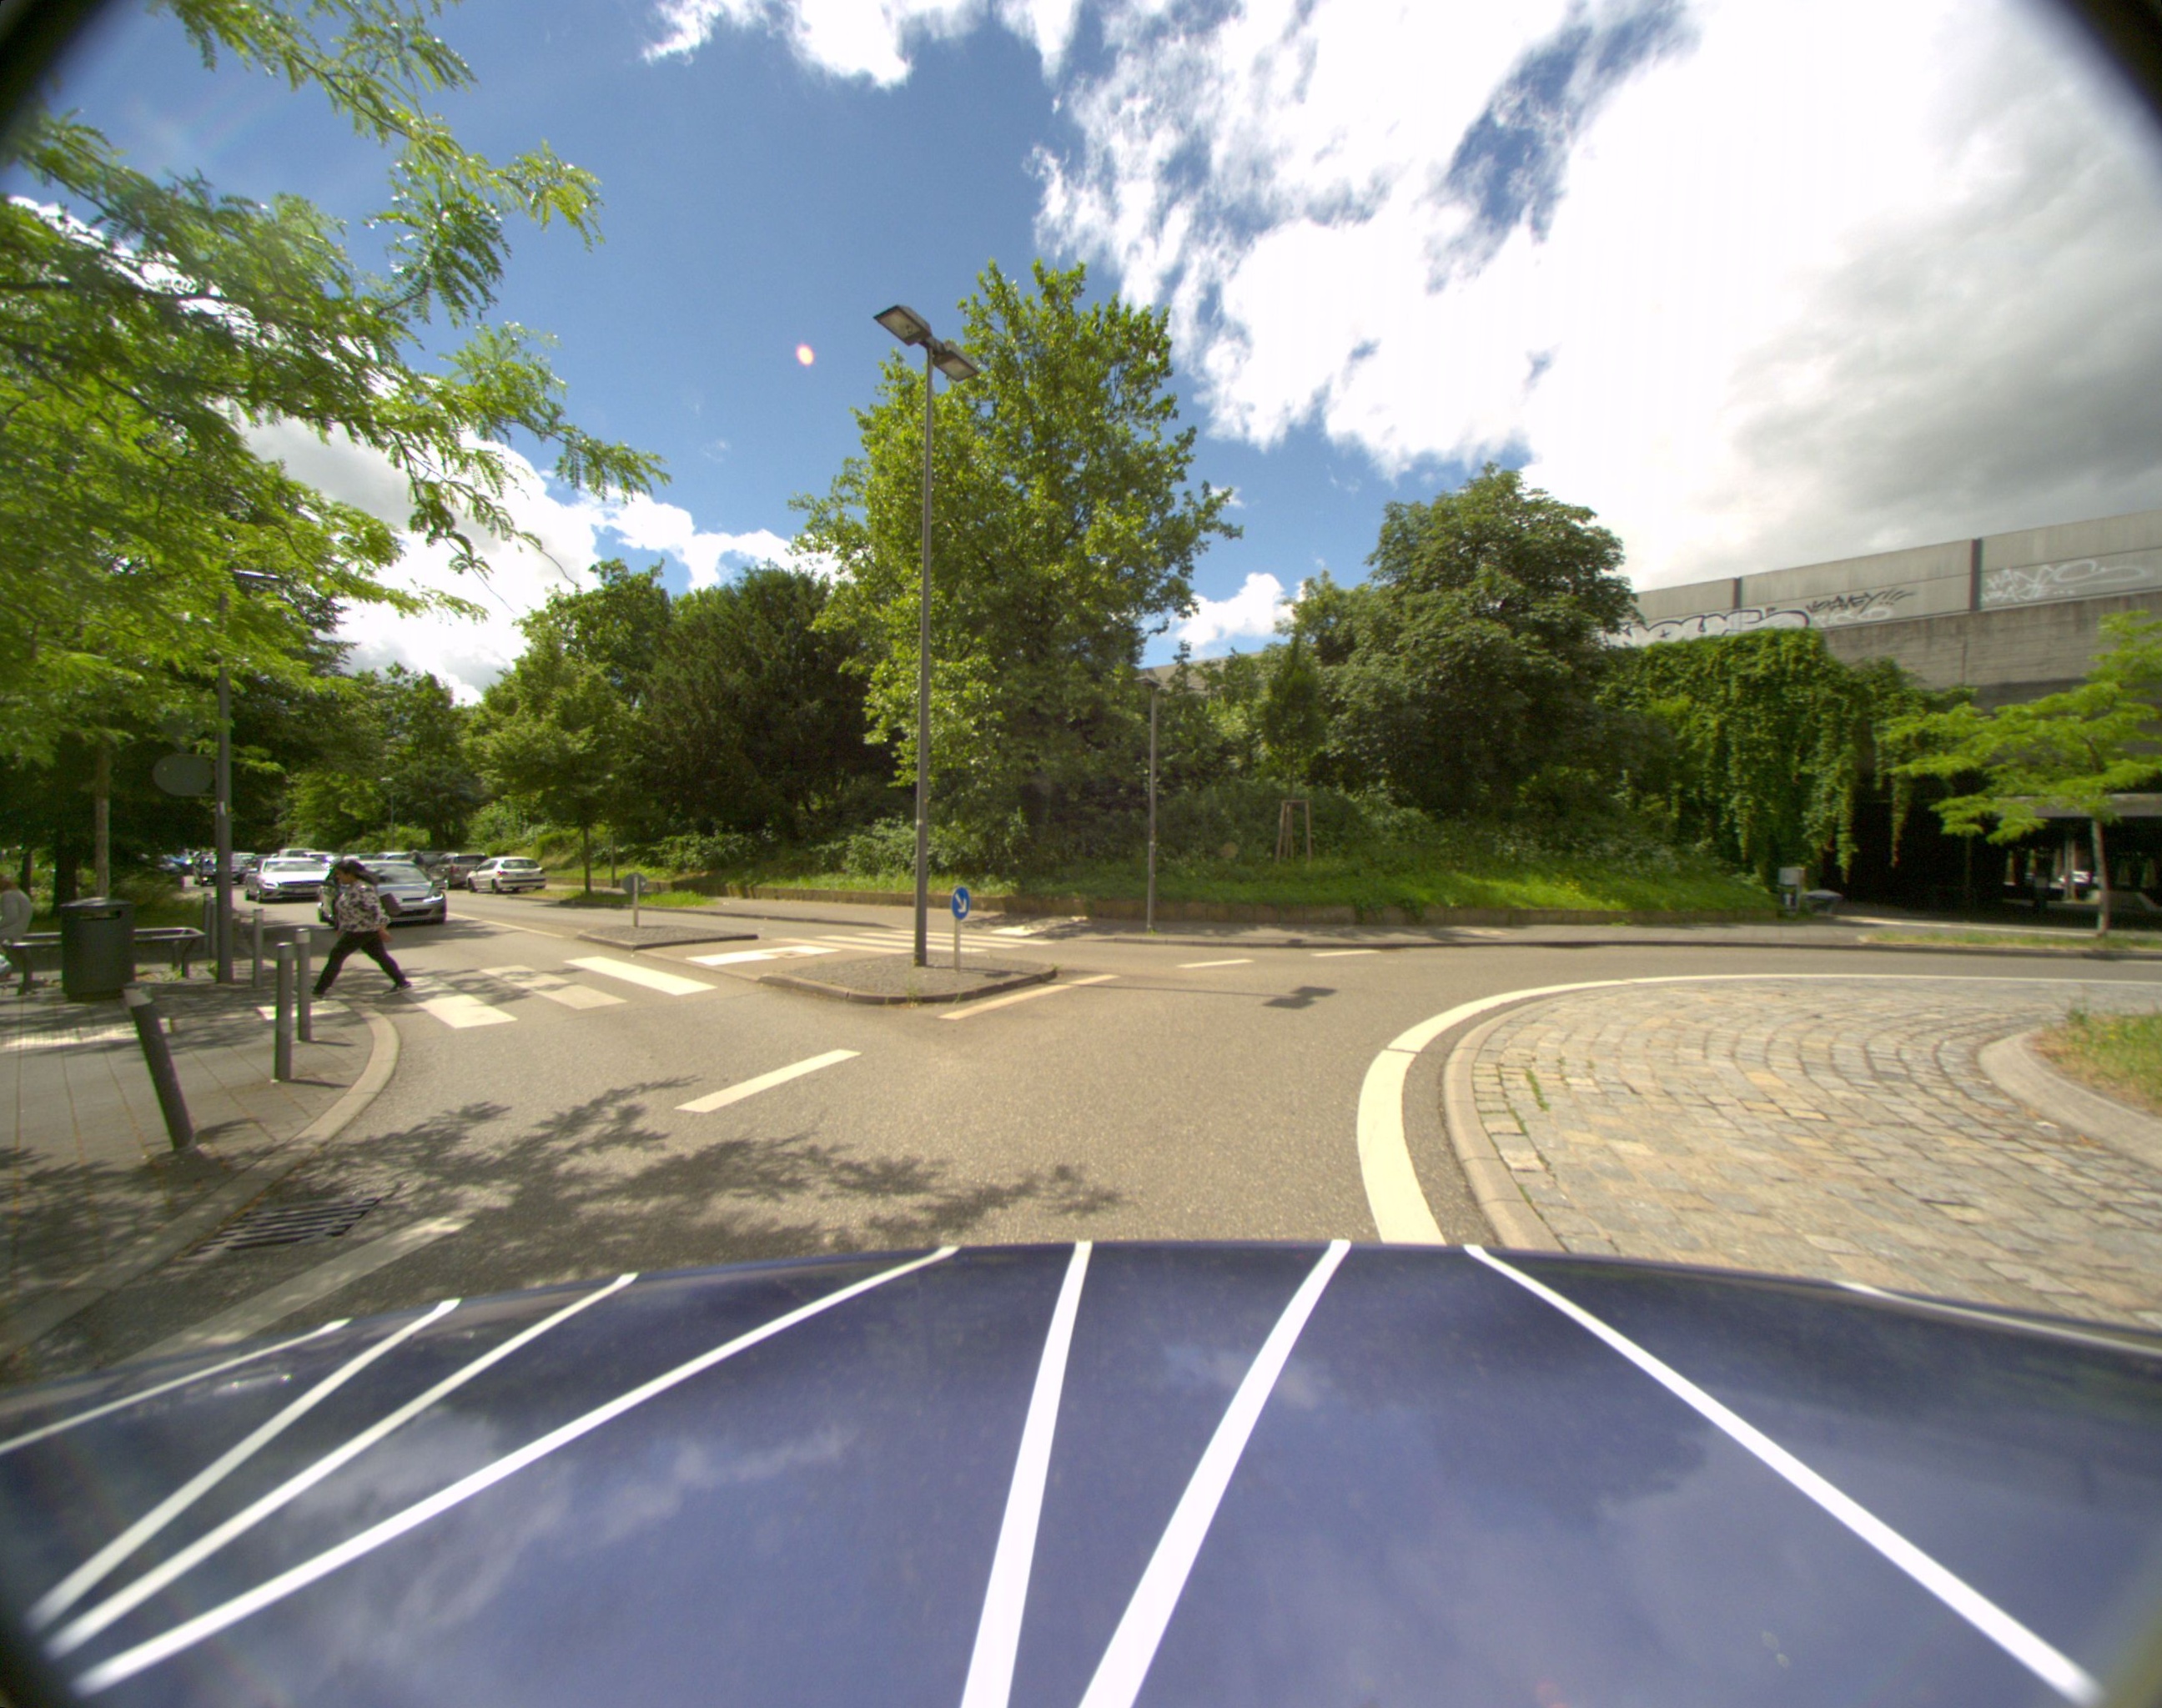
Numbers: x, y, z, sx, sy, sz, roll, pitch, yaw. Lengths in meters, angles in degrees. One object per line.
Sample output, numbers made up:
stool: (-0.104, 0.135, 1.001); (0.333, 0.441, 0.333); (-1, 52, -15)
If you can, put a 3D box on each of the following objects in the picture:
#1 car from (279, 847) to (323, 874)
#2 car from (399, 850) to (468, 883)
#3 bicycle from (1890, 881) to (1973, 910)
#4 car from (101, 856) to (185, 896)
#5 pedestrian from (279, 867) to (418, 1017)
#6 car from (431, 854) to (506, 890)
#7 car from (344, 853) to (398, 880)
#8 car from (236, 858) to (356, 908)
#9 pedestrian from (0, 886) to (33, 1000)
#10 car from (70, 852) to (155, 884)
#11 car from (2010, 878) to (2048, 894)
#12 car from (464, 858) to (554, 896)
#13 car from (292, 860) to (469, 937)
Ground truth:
car: (-55.204, 0.456, 53.757); (3.988, 1.793, 1.939); (0, 0, 41)
car: (-30.917, 0.584, 36.228); (3.988, 1.477, 1.939); (1, 0, 41)
bicycle: (31.323, 1.519, 28.030); (1.945, 0.899, 0.508); (2, 2, 41)
car: (-37.600, 0.834, 30.434); (4.571, 1.499, 2.005); (0, -1, 38)
pedestrian: (-7.951, 0.916, 8.288); (0.779, 1.544, 0.765); (1, 0, -9)
car: (-27.153, 0.762, 33.635); (3.988, 1.477, 1.939); (0, -1, 41)
car: (-41.264, 0.728, 44.135); (3.988, 1.477, 1.939); (0, -1, 41)
car: (-26.407, 0.908, 25.537); (4.571, 1.499, 2.004); (0, 1, 34)
pedestrian: (-12.713, 1.018, 8.712); (0.699, 1.277, 0.615); (1, 0, -43)
car: (-47.157, 0.659, 36.989); (4.572, 1.499, 2.004); (0, -1, 31)
car: (93.606, 3.112, 75.059); (1.671, 1.439, 3.861); (3, 1, 41)
car: (-22.847, 0.878, 30.329); (3.988, 1.323, 1.760); (0, 3, 37)
car: (-16.151, 0.911, 17.465); (4.571, 1.499, 2.004); (0, 1, 35)
